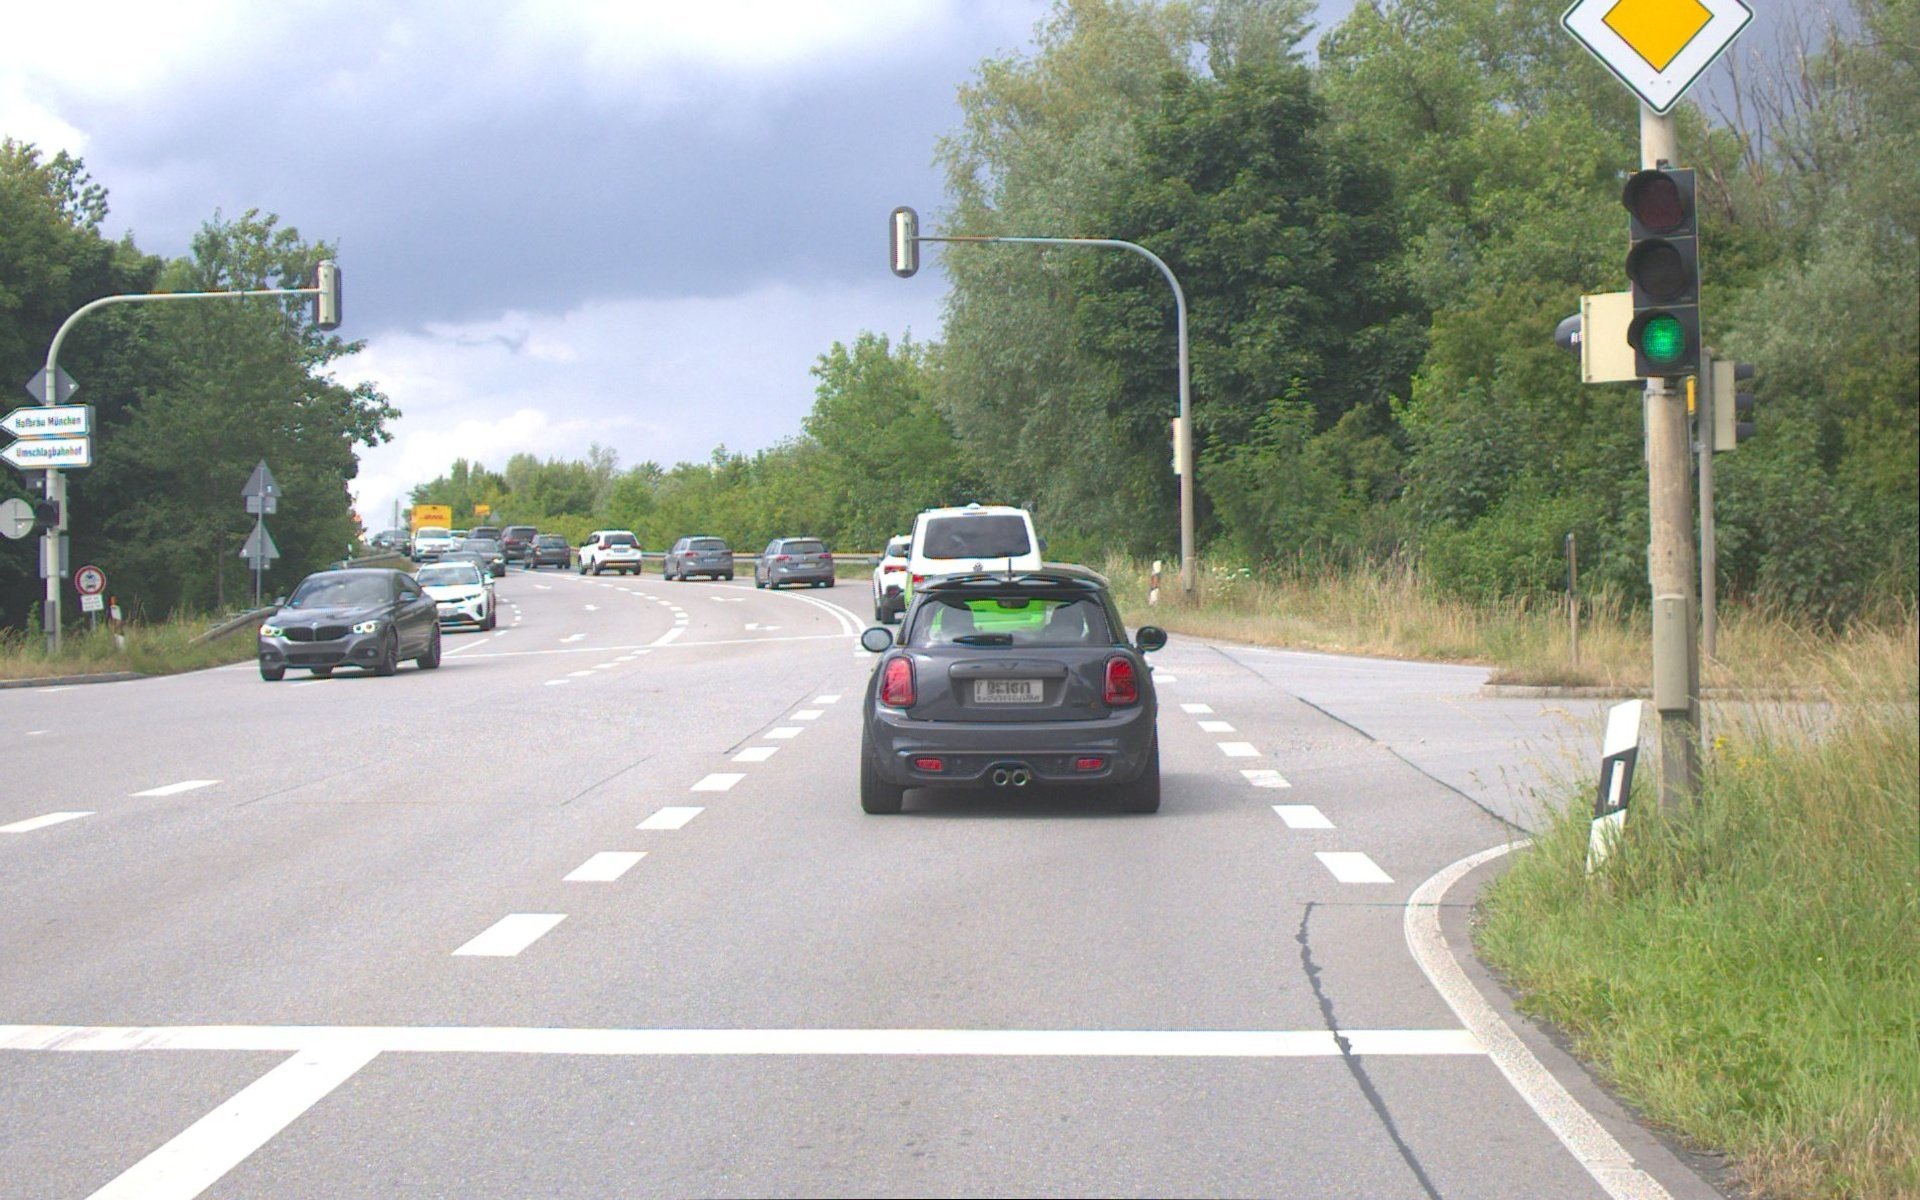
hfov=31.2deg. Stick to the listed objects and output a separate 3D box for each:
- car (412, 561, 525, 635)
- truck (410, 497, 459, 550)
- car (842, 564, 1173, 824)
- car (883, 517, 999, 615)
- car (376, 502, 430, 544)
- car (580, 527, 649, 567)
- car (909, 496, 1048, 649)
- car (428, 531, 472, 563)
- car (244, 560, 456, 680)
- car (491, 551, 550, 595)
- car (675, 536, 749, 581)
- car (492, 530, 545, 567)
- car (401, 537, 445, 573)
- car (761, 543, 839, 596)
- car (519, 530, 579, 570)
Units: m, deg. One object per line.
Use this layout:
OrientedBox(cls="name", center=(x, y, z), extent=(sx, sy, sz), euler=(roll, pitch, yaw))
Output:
OrientedBox(cls="car", center=(-10.522, -0.070, 73.832), extent=(1.729, 1.499, 4.346), euler=(-1, 1, 1))
OrientedBox(cls="truck", center=(-33.200, -4.800, 217.067), extent=(2.716, 2.888, 8.772), euler=(0, -1, -11))
OrientedBox(cls="car", center=(0.304, 0.505, 21.173), extent=(1.845, 1.423, 3.841), euler=(0, 1, 1))
OrientedBox(cls="car", center=(-0.362, -0.604, 61.852), extent=(1.993, 1.678, 4.000), euler=(-1, 0, -1))
OrientedBox(cls="car", center=(-22.850, -3.166, 140.869), extent=(1.993, 1.684, 4.001), euler=(-1, 2, -11))
OrientedBox(cls="car", center=(-13.167, -1.998, 130.833), extent=(1.993, 1.471, 4.487), euler=(0, 0, -13))
OrientedBox(cls="car", center=(0.246, -0.423, 47.653), extent=(1.845, 1.980, 3.842), euler=(0, 3, 0))
OrientedBox(cls="car", center=(-29.822, -3.097, 200.908), extent=(1.993, 1.781, 4.487), euler=(-1, 0, -16))
OrientedBox(cls="car", center=(-8.506, 0.239, 48.350), extent=(1.788, 1.525, 4.903), euler=(-3, 0, 3))
OrientedBox(cls="car", center=(-16.616, -1.032, 130.239), extent=(1.737, 1.401, 4.251), euler=(-7, 2, -3))
OrientedBox(cls="car", center=(-8.325, -1.387, 114.959), extent=(1.993, 1.471, 4.487), euler=(0, 0, -10))
OrientedBox(cls="car", center=(-20.932, -2.442, 162.798), extent=(1.993, 1.690, 4.487), euler=(0, 0, -14))
OrientedBox(cls="car", center=(-25.751, -2.168, 164.891), extent=(1.993, 1.607, 4.001), euler=(-1, 2, -8))
OrientedBox(cls="car", center=(-4.571, -0.850, 97.441), extent=(1.993, 1.471, 4.486), euler=(0, 0, -5))
OrientedBox(cls="car", center=(-17.780, -2.154, 148.531), extent=(1.993, 1.690, 4.487), euler=(0, 0, -14))
